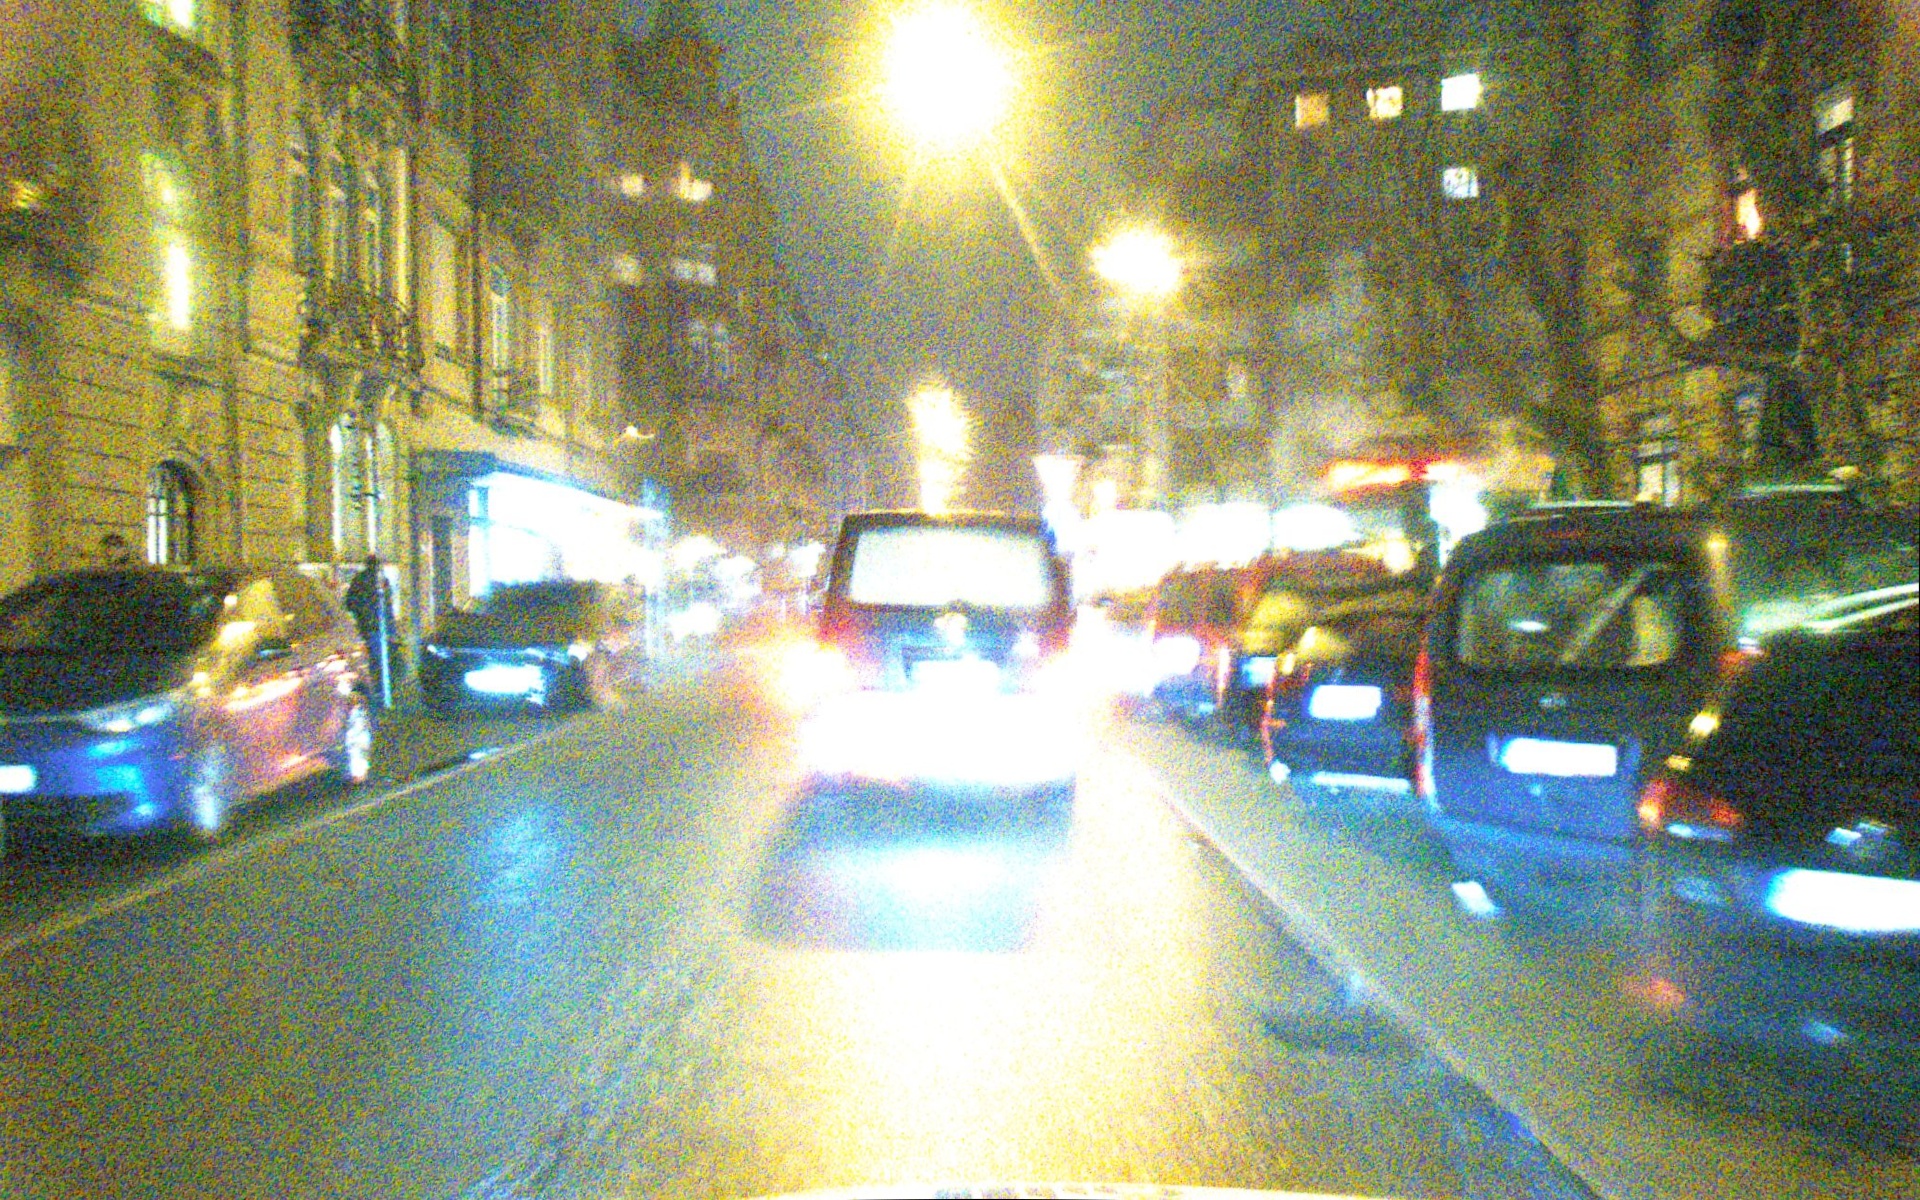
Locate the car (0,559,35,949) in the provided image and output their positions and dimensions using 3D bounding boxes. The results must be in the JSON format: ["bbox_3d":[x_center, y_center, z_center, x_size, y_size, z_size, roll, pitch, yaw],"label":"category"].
[{"bbox_3d":[-4.496,0.609,4.734,1.554,1.508,3.793,0,1,0],"label":"car"}]

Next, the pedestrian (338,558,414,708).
[{"bbox_3d":[-6.841,0.377,19.394,0.687,1.733,0.539,0,0,-1],"label":"pedestrian"}]

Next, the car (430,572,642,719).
[{"bbox_3d":[-4.957,0.470,19.875,1.777,1.584,4.073,0,1,-5],"label":"car"}]

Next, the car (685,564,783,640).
[{"bbox_3d":[-5.319,0.023,39.386,1.845,1.714,3.999,0,1,-1],"label":"car"}]

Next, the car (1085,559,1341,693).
[{"bbox_3d":[3.635,0.326,23.572,3.533,1.764,1.667,0,1,-38],"label":"car"}]

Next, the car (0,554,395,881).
[{"bbox_3d":[-4.801,0.546,10.031,1.623,1.584,4.073,0,1,-4],"label":"car"}]

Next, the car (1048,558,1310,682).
[{"bbox_3d":[3.461,0.271,25.897,3.959,1.792,1.855,0,1,-38],"label":"car"}]

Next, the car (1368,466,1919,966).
[{"bbox_3d":[3.866,0.374,8.019,3.712,1.872,1.703,-3,1,-38],"label":"car"}]

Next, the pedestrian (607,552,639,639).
[{"bbox_3d":[-7.581,-0.102,37.206,0.648,1.937,0.538,0,0,-5],"label":"pedestrian"}]

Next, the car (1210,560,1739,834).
[{"bbox_3d":[3.552,0.545,11.220,3.527,1.478,1.651,-3,1,-37],"label":"car"}]

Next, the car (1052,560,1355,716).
[{"bbox_3d":[2.977,0.411,19.917,3.529,1.618,1.584,-3,1,-38],"label":"car"}]

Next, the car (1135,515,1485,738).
[{"bbox_3d":[3.647,0.203,17.007,3.529,2.025,1.584,-3,1,-38],"label":"car"}]

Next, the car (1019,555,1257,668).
[{"bbox_3d":[3.120,0.139,28.681,3.959,1.792,1.855,-2,2,-38],"label":"car"}]

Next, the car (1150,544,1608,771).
[{"bbox_3d":[3.786,0.412,14.686,3.958,1.615,1.856,-4,1,-37],"label":"car"}]

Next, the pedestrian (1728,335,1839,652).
[{"bbox_3d":[9.529,-1.208,19.162,0.873,3.589,0.791,0,0,-1],"label":"pedestrian"}]

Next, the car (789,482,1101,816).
[{"bbox_3d":[-0.125,0.308,12.336,1.953,2.086,3.999,0,0,-1],"label":"car"}]

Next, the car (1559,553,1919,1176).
[{"bbox_3d":[3.674,0.588,5.202,3.528,1.510,1.703,-3,1,-37],"label":"car"}]
